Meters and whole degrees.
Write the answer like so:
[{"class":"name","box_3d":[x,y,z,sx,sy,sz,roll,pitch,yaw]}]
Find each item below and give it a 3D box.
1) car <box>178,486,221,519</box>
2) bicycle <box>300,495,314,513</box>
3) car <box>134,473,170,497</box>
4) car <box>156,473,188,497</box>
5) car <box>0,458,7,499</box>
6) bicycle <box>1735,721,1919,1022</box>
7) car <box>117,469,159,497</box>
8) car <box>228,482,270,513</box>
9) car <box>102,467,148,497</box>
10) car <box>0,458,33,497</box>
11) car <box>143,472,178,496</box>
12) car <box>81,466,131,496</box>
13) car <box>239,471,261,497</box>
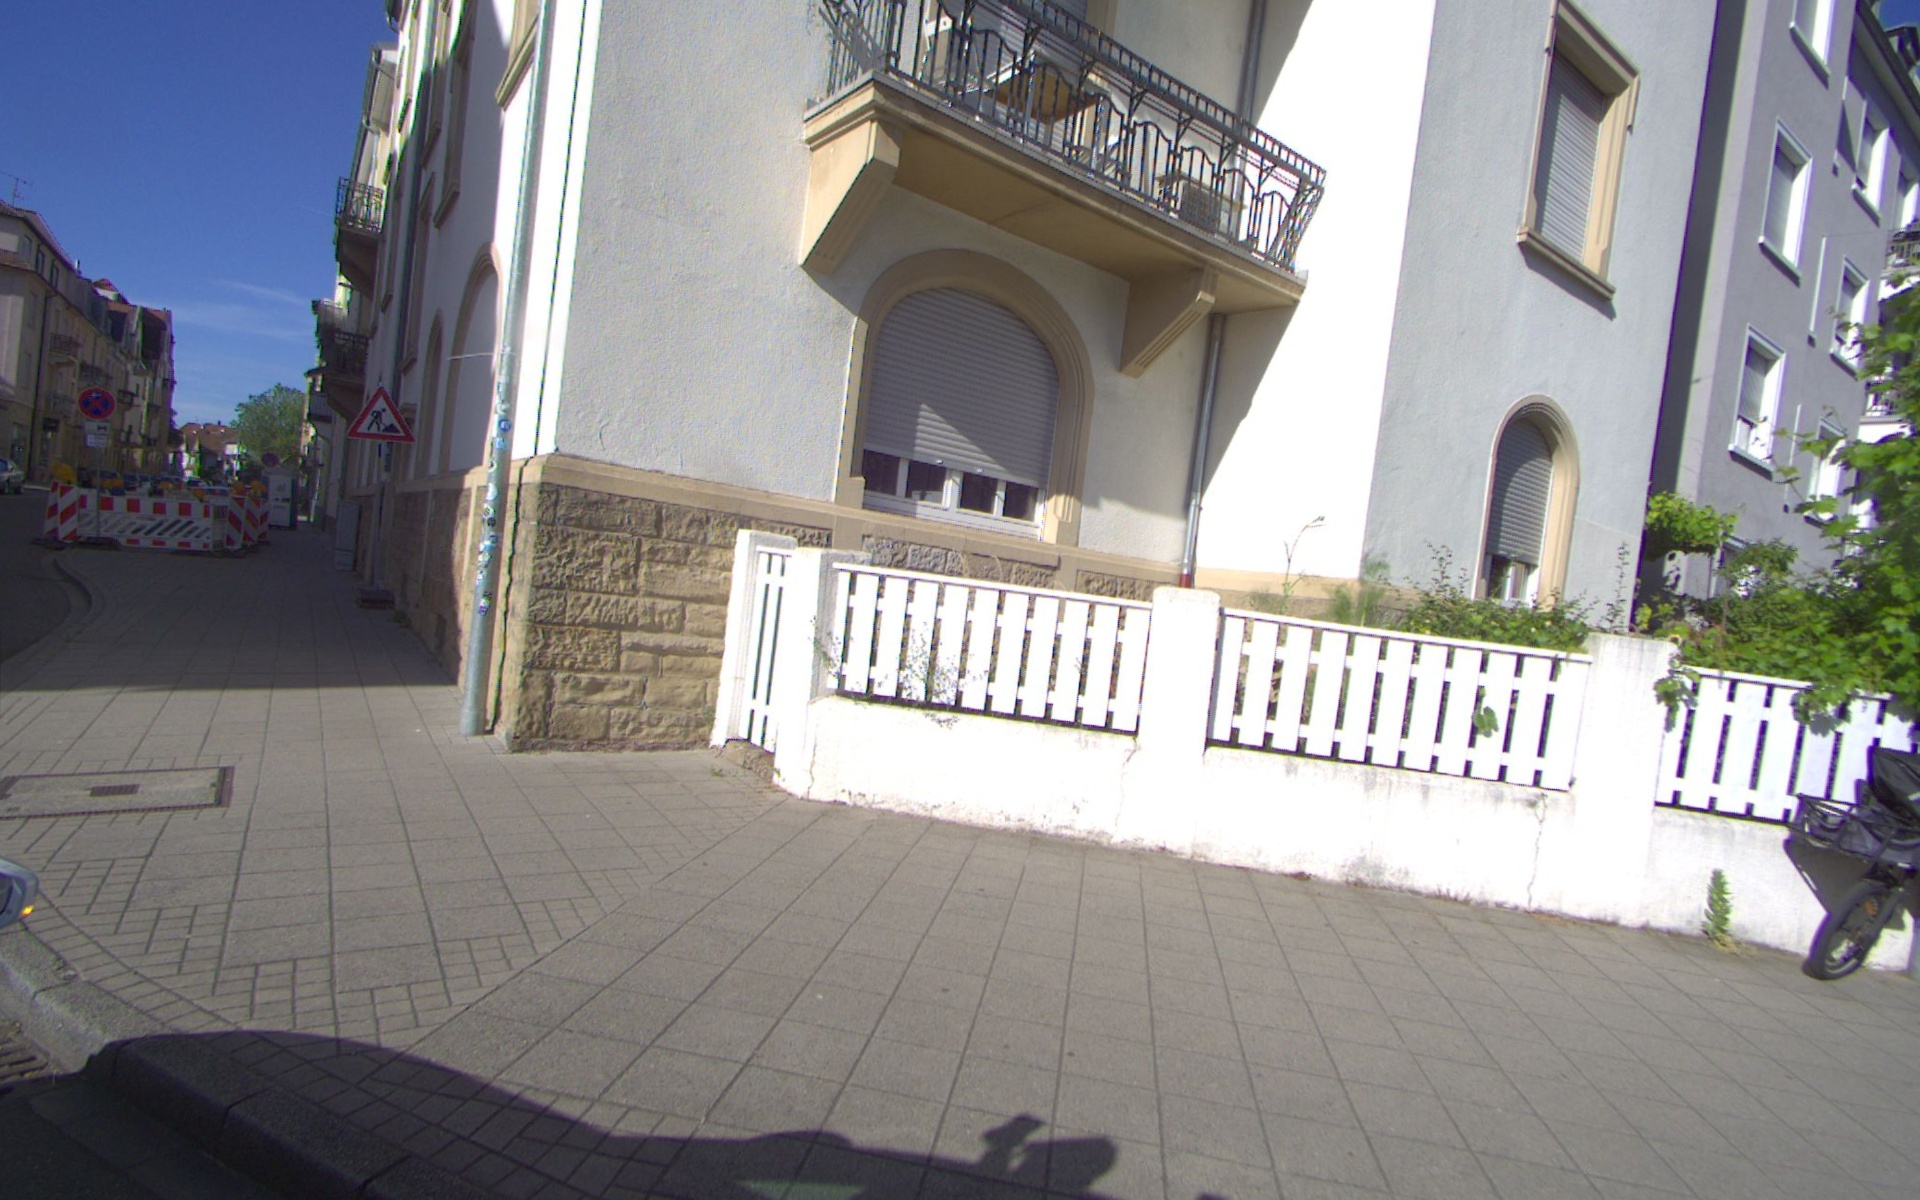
[{"class":"car","box_3d":[-54.424,-6.954,72.054,1.993,1.936,4.445,9,-1,-34]},{"class":"bicycle","box_3d":[-49.920,-7.340,76.857,0.756,1.262,2.567,6,2,-34]},{"class":"car","box_3d":[-68.422,-9.725,85.228,1.968,1.500,4.286,9,-1,-35]},{"class":"car","box_3d":[-76.904,-11.210,98.215,1.993,1.809,4.444,9,-1,-35]},{"class":"car","box_3d":[-35.888,-4.518,36.127,1.752,1.522,3.960,6,2,-35]},{"class":"bicycle","box_3d":[5.033,1.340,4.526,2.243,1.172,0.767,8,1,8]},{"class":"car","box_3d":[-63.552,-9.007,77.790,1.993,1.638,4.444,9,-1,-35]},{"class":"car","box_3d":[-47.507,-6.796,67.272,1.899,1.665,4.733,5,1,-32]},{"class":"car","box_3d":[-59.565,-8.402,71.826,1.993,1.600,4.444,9,-1,-35]},{"class":"car","box_3d":[-38.512,-4.959,39.867,1.753,1.393,4.436,11,-1,-34]},{"class":"car","box_3d":[-70.853,-10.234,89.233,1.993,1.638,4.444,9,-1,-35]},{"class":"car","box_3d":[-53.692,-7.463,63.310,1.669,1.443,4.236,9,-1,-32]},{"class":"car","box_3d":[-83.075,-13.518,117.716,1.826,2.566,4.139,5,1,-33]}]
